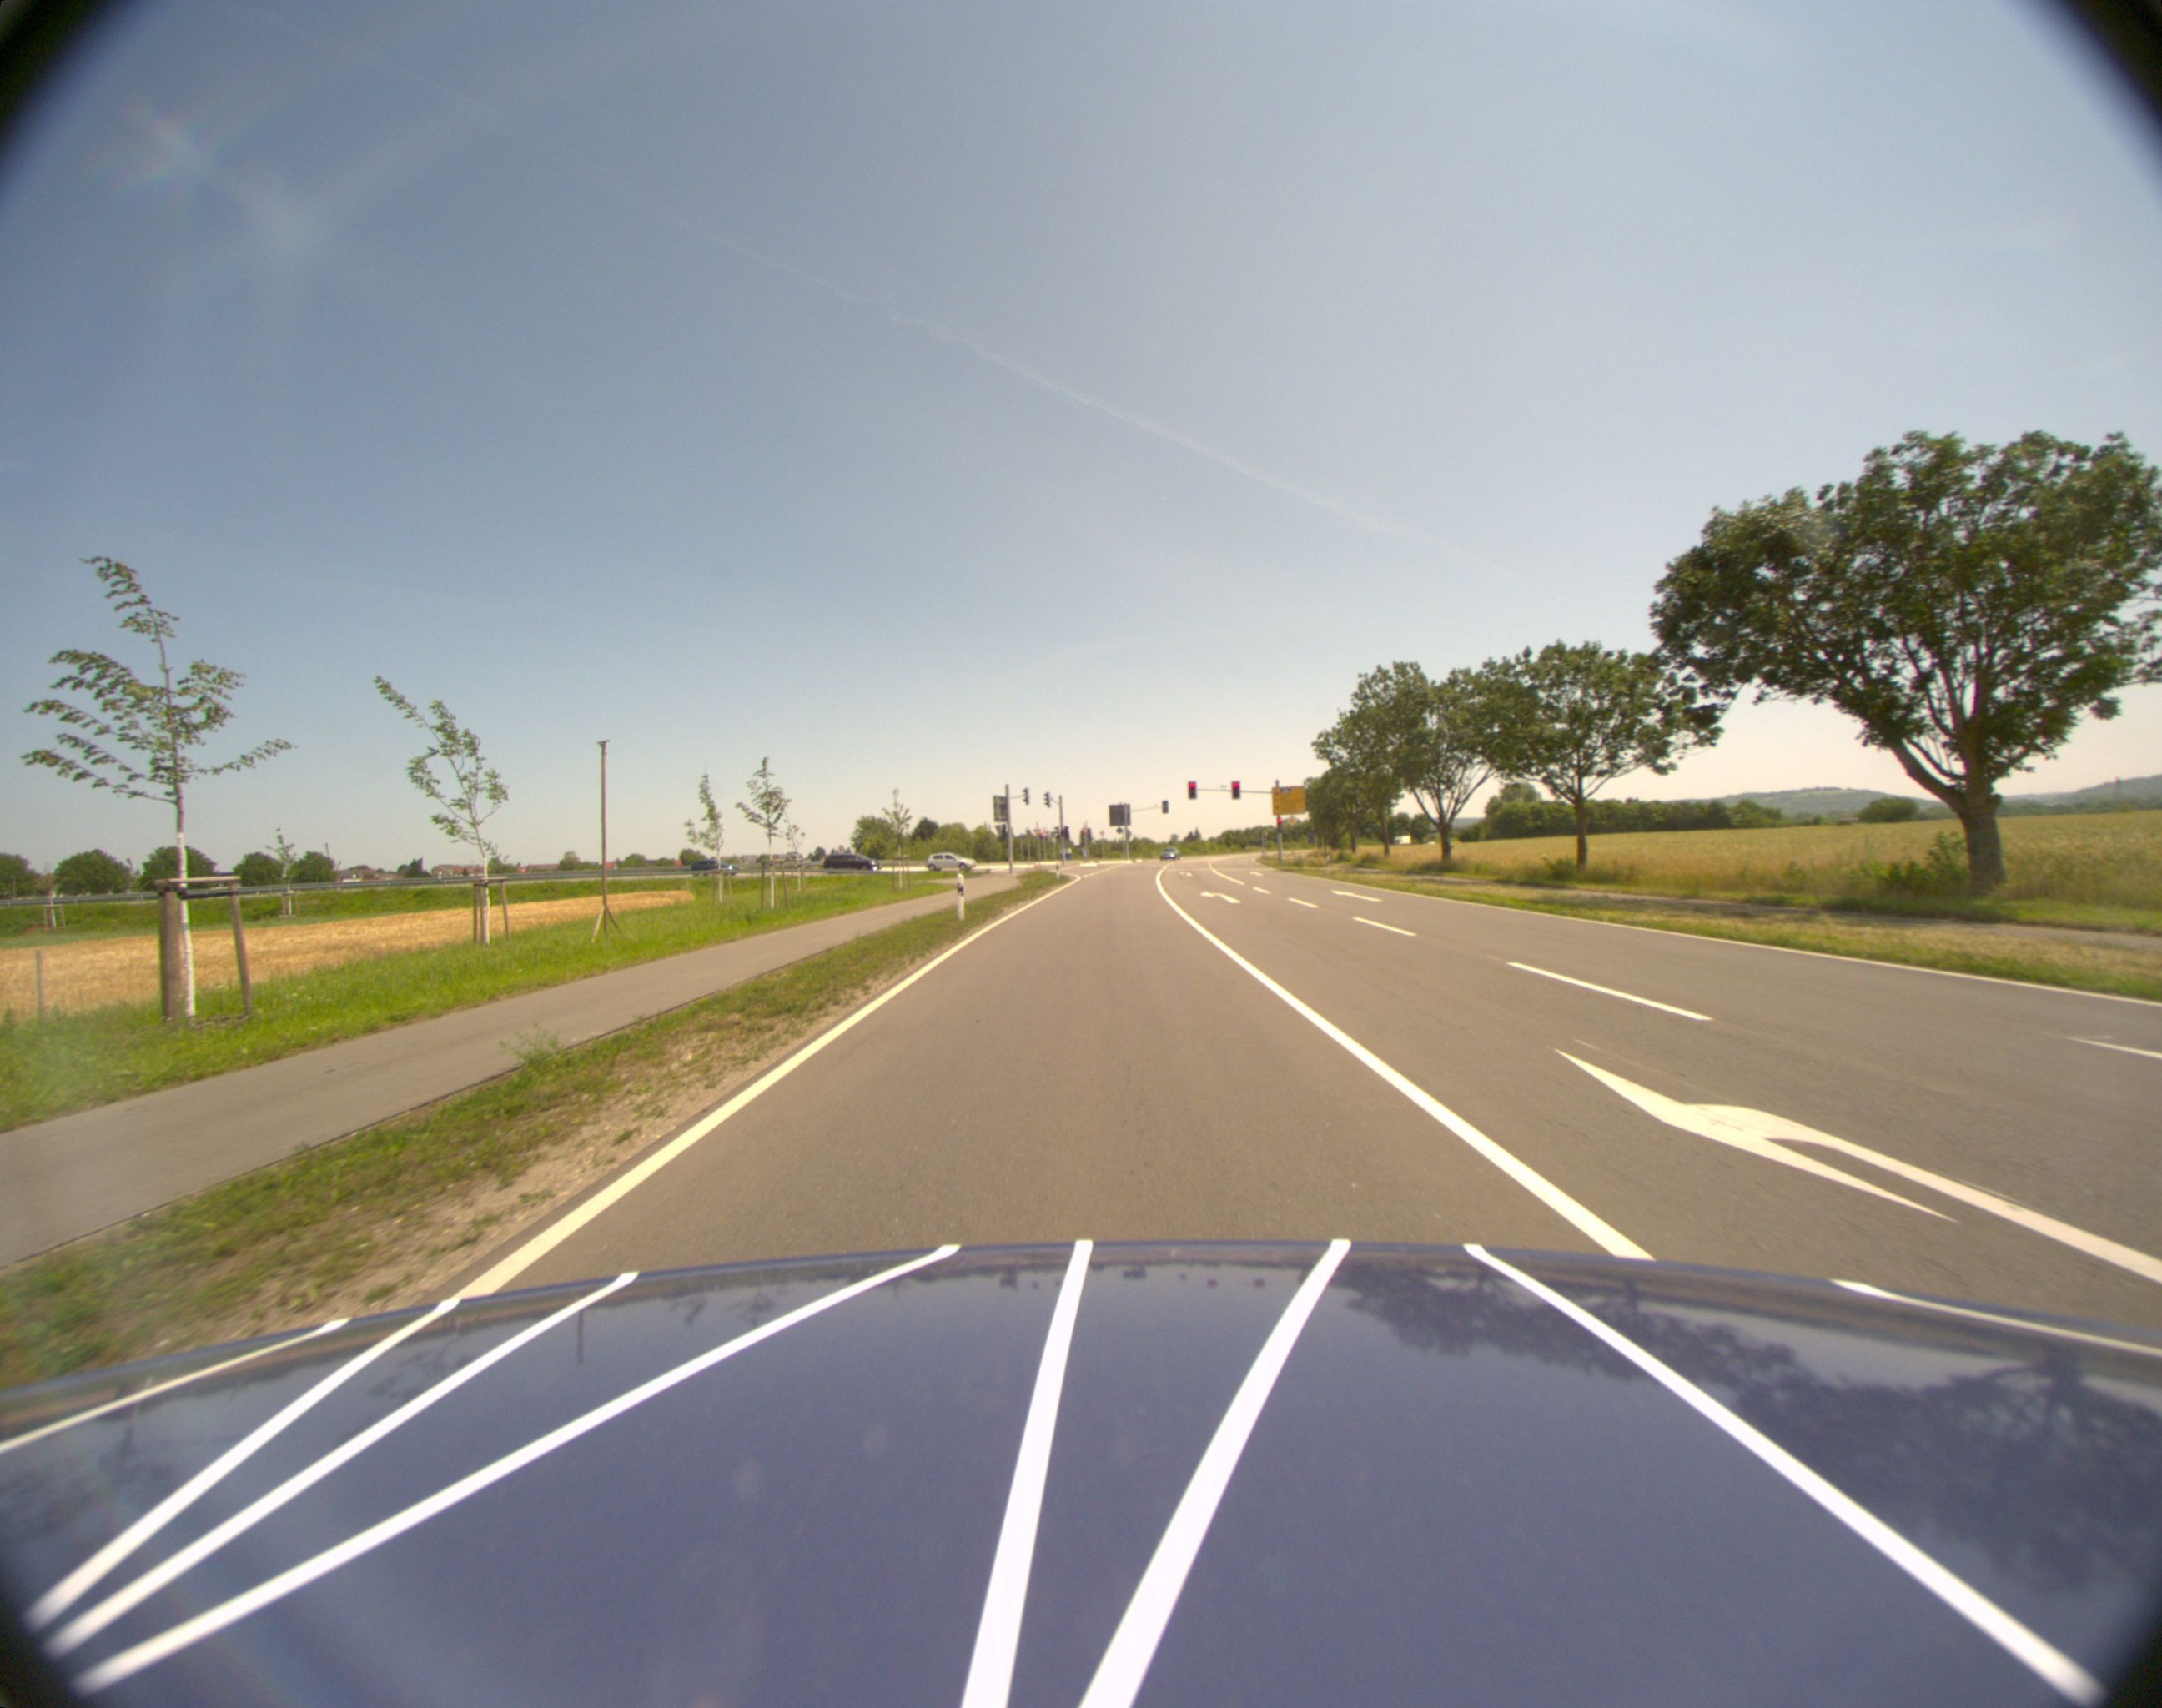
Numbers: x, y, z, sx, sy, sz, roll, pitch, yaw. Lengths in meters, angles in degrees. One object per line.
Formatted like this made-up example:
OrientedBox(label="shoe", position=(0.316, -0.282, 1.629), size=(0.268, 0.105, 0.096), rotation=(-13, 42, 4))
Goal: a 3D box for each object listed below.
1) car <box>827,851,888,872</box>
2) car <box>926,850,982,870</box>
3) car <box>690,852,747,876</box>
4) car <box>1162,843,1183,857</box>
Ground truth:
OrientedBox(label="car", position=(-18.758, 0.604, 63.769), size=(4.520, 1.631, 1.815), rotation=(-1, 2, 8))
OrientedBox(label="car", position=(-10.456, 0.508, 62.715), size=(4.146, 1.451, 1.662), rotation=(-2, 1, 9))
OrientedBox(label="car", position=(-31.019, 0.841, 65.119), size=(3.920, 1.798, 1.918), rotation=(-3, 1, -9))
OrientedBox(label="car", position=(10.472, -0.429, 86.747), size=(1.655, 1.557, 4.004), rotation=(-1, 0, 16))
